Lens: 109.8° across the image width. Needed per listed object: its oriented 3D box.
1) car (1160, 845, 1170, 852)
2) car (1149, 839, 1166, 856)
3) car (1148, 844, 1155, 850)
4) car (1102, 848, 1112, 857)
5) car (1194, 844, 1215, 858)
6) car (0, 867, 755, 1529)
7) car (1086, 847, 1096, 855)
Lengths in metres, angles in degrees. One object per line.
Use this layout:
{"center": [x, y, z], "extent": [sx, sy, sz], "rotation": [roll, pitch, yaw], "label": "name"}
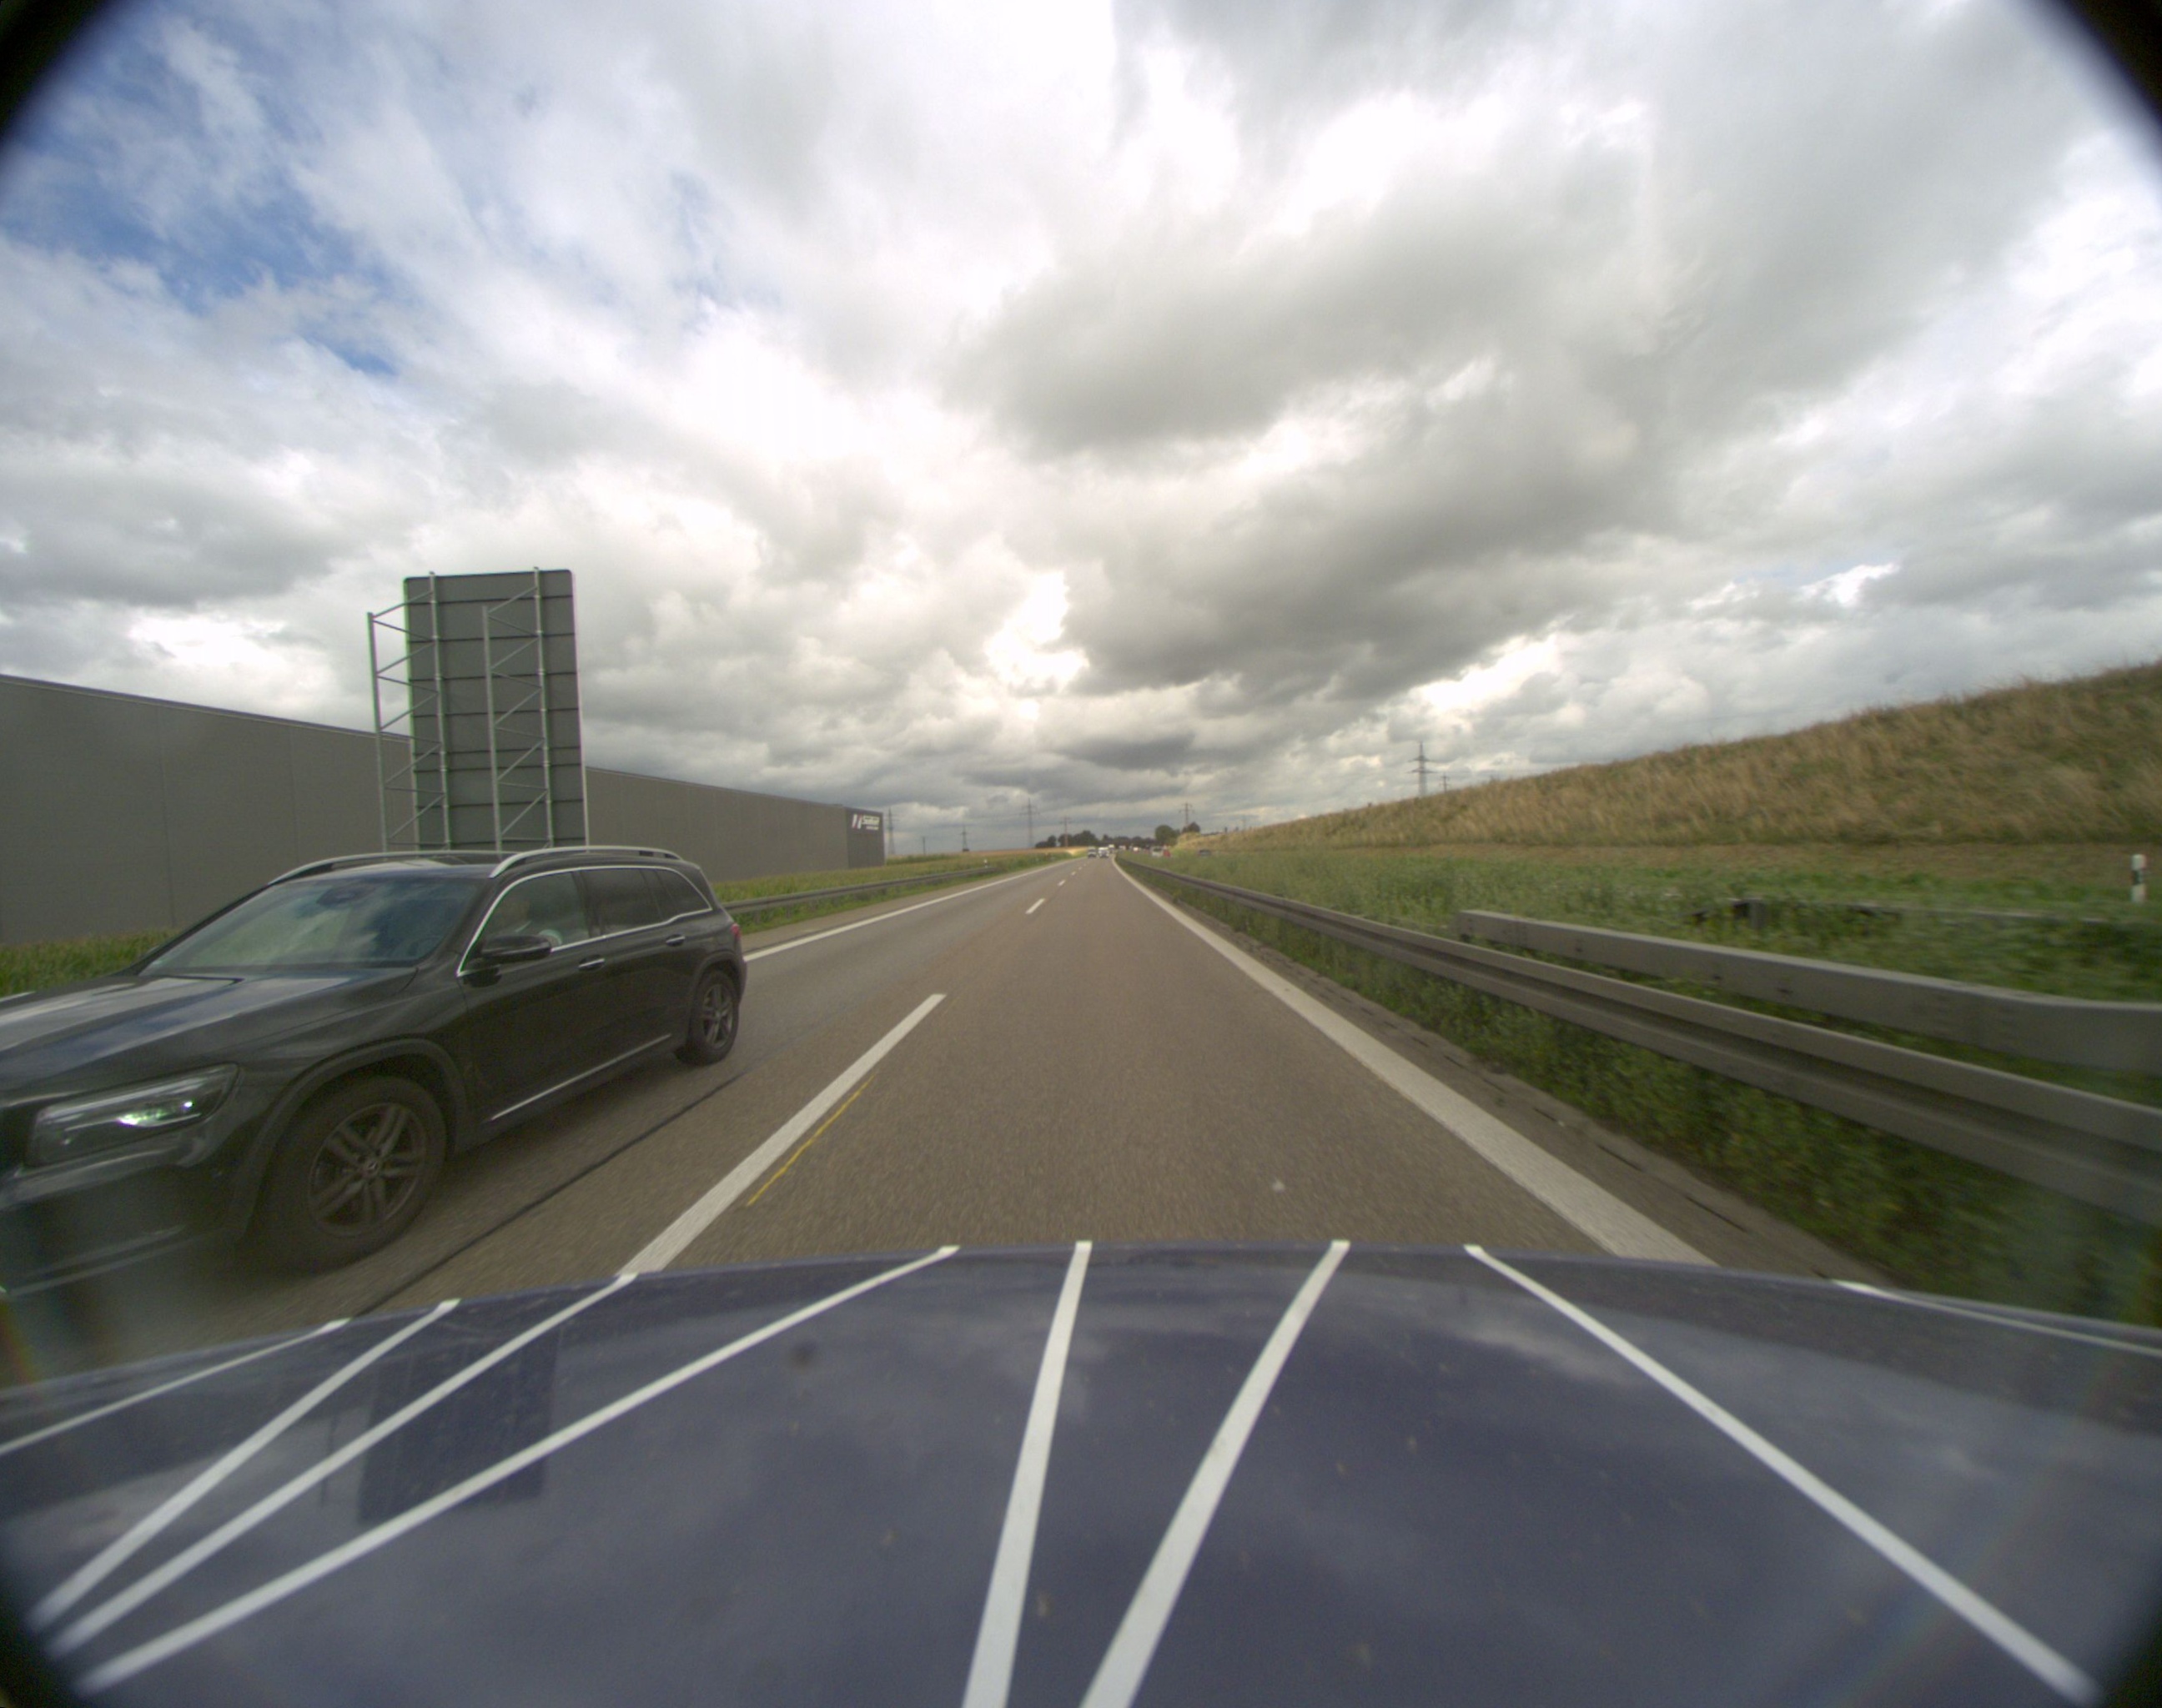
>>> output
{"center": [16.538, -1.113, 149.776], "extent": [1.728, 1.395, 4.342], "rotation": [-2, 1, 2], "label": "car"}
{"center": [11.205, -1.036, 111.694], "extent": [1.998, 2.334, 5.870], "rotation": [-2, 1, 1], "label": "car"}
{"center": [20.675, -2.146, 224.140], "extent": [1.821, 1.692, 4.000], "rotation": [-2, 1, 3], "label": "car"}
{"center": [5.763, -0.305, 165.450], "extent": [1.998, 1.695, 4.663], "rotation": [-4, -1, 3], "label": "car"}
{"center": [13.749, -0.341, 85.047], "extent": [1.776, 1.445, 4.000], "rotation": [-2, 1, 2], "label": "car"}
{"center": [-3.718, 0.969, 4.128], "extent": [1.838, 1.600, 4.360], "rotation": [-2, 1, 2], "label": "car"}
{"center": [2.495, -0.685, 186.743], "extent": [1.998, 1.812, 4.343], "rotation": [-2, 1, 4], "label": "car"}
